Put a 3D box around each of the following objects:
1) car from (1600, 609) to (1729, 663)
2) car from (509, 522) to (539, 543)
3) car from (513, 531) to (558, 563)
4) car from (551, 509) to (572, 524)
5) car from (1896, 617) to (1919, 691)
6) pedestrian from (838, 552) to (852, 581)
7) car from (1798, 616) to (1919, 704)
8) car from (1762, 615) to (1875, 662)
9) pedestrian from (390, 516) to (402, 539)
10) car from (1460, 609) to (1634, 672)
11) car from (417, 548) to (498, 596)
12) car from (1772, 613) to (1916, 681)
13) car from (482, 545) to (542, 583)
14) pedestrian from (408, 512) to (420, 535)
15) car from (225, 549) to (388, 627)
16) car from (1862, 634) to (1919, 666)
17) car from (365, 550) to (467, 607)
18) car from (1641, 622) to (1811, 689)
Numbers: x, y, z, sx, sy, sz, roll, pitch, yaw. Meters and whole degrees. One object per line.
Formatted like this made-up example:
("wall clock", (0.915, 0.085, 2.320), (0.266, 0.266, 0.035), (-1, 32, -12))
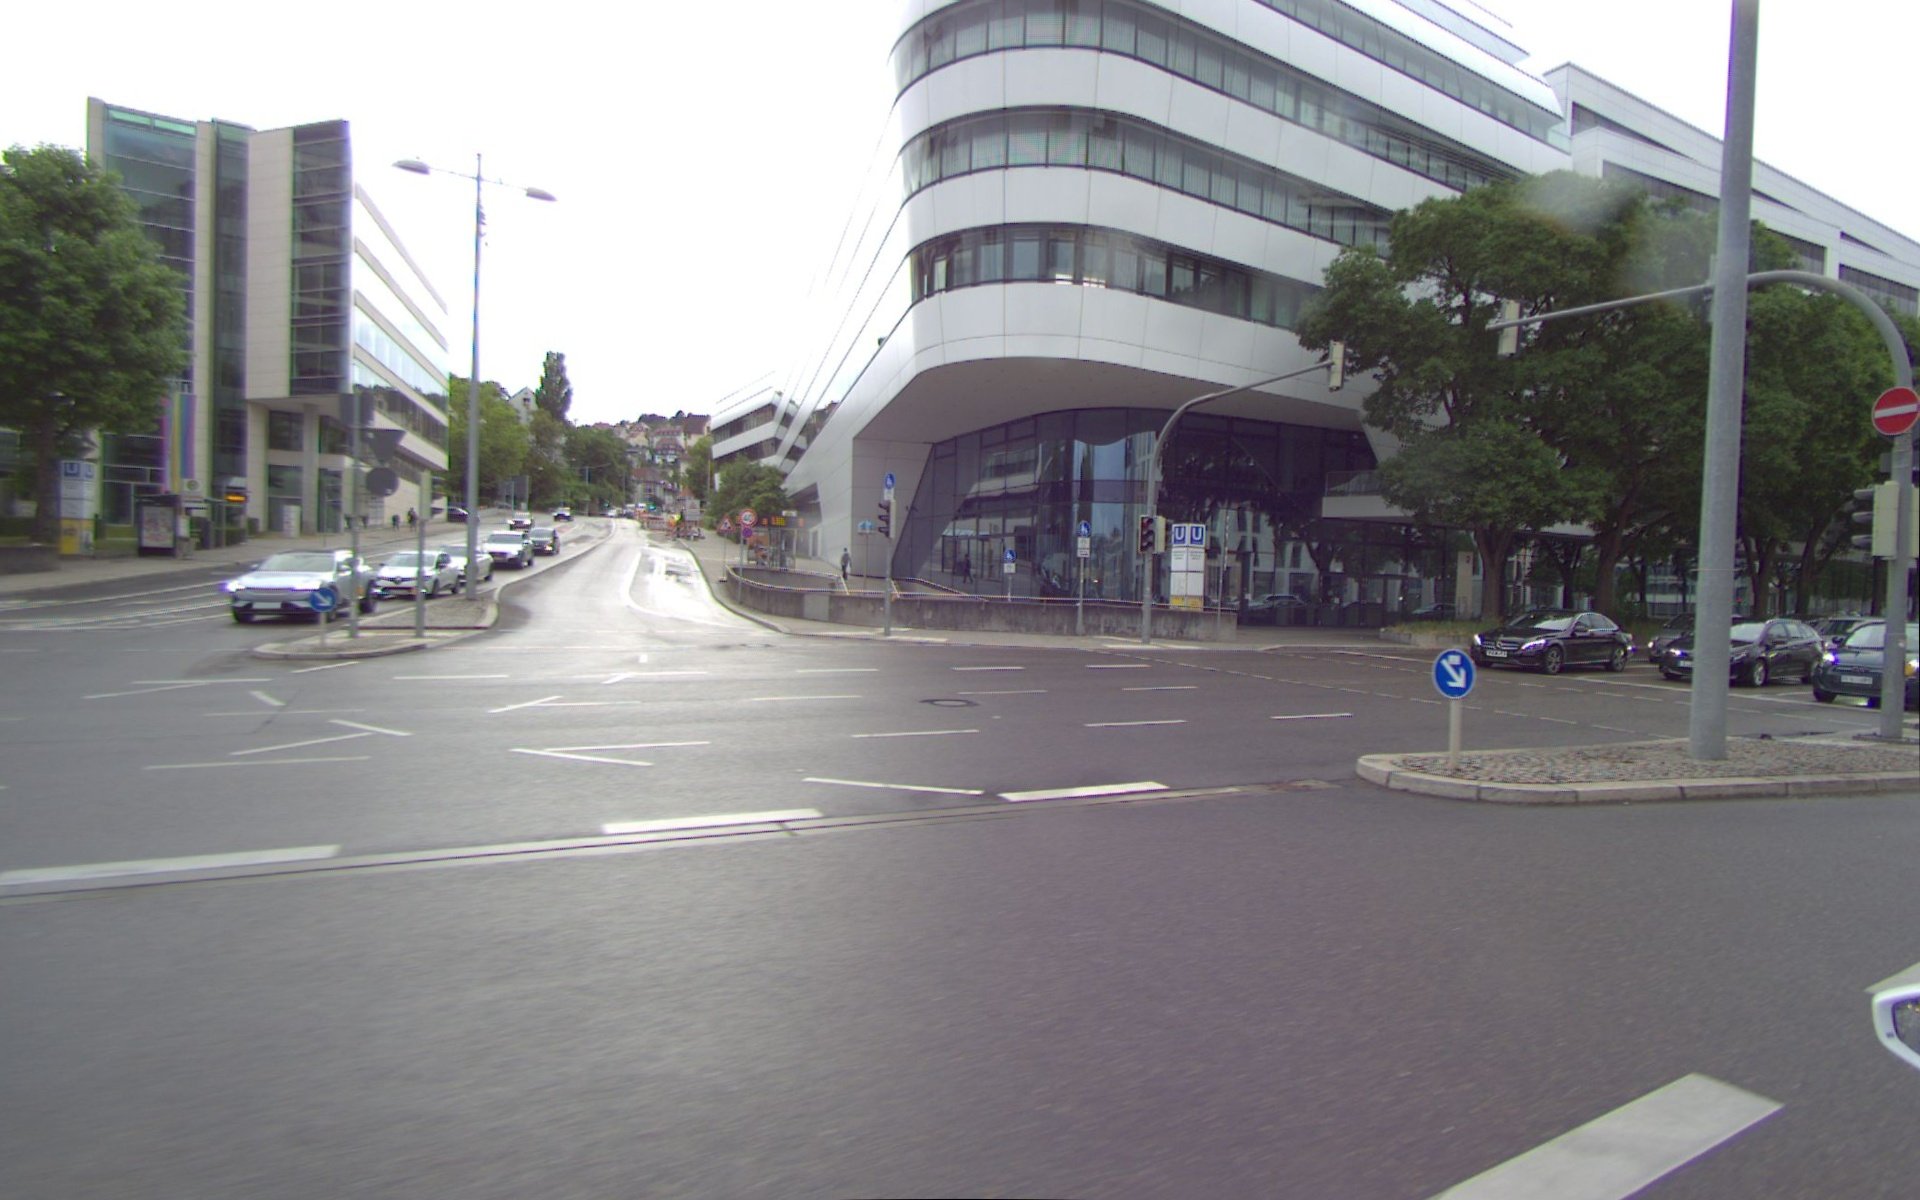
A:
("car", (20.308, 1.033, 28.937), (3.498, 1.442, 1.735), (2, 0, -30))
("car", (-39.637, -6.126, 91.401), (1.816, 1.684, 3.987), (2, 5, -14))
("car", (-24.592, -3.122, 58.330), (1.864, 1.653, 3.985), (2, 4, -16))
("car", (-51.909, -10.861, 130.932), (1.862, 1.653, 3.989), (2, 1, -14))
("car", (22.414, 1.218, 21.971), (4.195, 1.579, 1.694), (2, 0, -30))
("pedestrian", (-6.340, -1.841, 55.389), (0.669, 1.586, 0.630), (2, 0, -14))
("car", (17.362, 1.079, 18.635), (3.355, 1.464, 1.735), (2, 0, -30))
("car", (27.907, 1.254, 32.650), (3.498, 1.442, 1.735), (2, 0, -30))
("pedestrian", (-42.639, -5.457, 75.967), (0.586, 1.632, 0.686), (2, 0, -18))
("car", (13.928, 0.959, 23.803), (4.176, 1.346, 1.735), (2, 0, -30))
("car", (-19.157, -1.062, 38.433), (1.862, 1.653, 3.989), (2, 1, -14))
("car", (22.546, 1.181, 25.616), (3.498, 1.579, 1.735), (2, 0, -30))
("car", (-21.122, -1.706, 47.505), (1.862, 1.653, 3.988), (2, 2, -14))
("pedestrian", (-41.585, -5.803, 76.502), (0.586, 1.632, 0.686), (2, 0, -18))
("car", (-15.669, -0.245, 24.396), (1.862, 1.653, 4.504), (2, 0, -13))
("car", (54.802, 2.930, 58.964), (3.498, 1.771, 1.735), (2, 0, -30))
("car", (-17.272, -0.642, 32.092), (1.862, 1.653, 3.989), (2, 0, -14))
("car", (16.698, 1.153, 21.887), (3.498, 1.274, 1.735), (1, 1, -30))
